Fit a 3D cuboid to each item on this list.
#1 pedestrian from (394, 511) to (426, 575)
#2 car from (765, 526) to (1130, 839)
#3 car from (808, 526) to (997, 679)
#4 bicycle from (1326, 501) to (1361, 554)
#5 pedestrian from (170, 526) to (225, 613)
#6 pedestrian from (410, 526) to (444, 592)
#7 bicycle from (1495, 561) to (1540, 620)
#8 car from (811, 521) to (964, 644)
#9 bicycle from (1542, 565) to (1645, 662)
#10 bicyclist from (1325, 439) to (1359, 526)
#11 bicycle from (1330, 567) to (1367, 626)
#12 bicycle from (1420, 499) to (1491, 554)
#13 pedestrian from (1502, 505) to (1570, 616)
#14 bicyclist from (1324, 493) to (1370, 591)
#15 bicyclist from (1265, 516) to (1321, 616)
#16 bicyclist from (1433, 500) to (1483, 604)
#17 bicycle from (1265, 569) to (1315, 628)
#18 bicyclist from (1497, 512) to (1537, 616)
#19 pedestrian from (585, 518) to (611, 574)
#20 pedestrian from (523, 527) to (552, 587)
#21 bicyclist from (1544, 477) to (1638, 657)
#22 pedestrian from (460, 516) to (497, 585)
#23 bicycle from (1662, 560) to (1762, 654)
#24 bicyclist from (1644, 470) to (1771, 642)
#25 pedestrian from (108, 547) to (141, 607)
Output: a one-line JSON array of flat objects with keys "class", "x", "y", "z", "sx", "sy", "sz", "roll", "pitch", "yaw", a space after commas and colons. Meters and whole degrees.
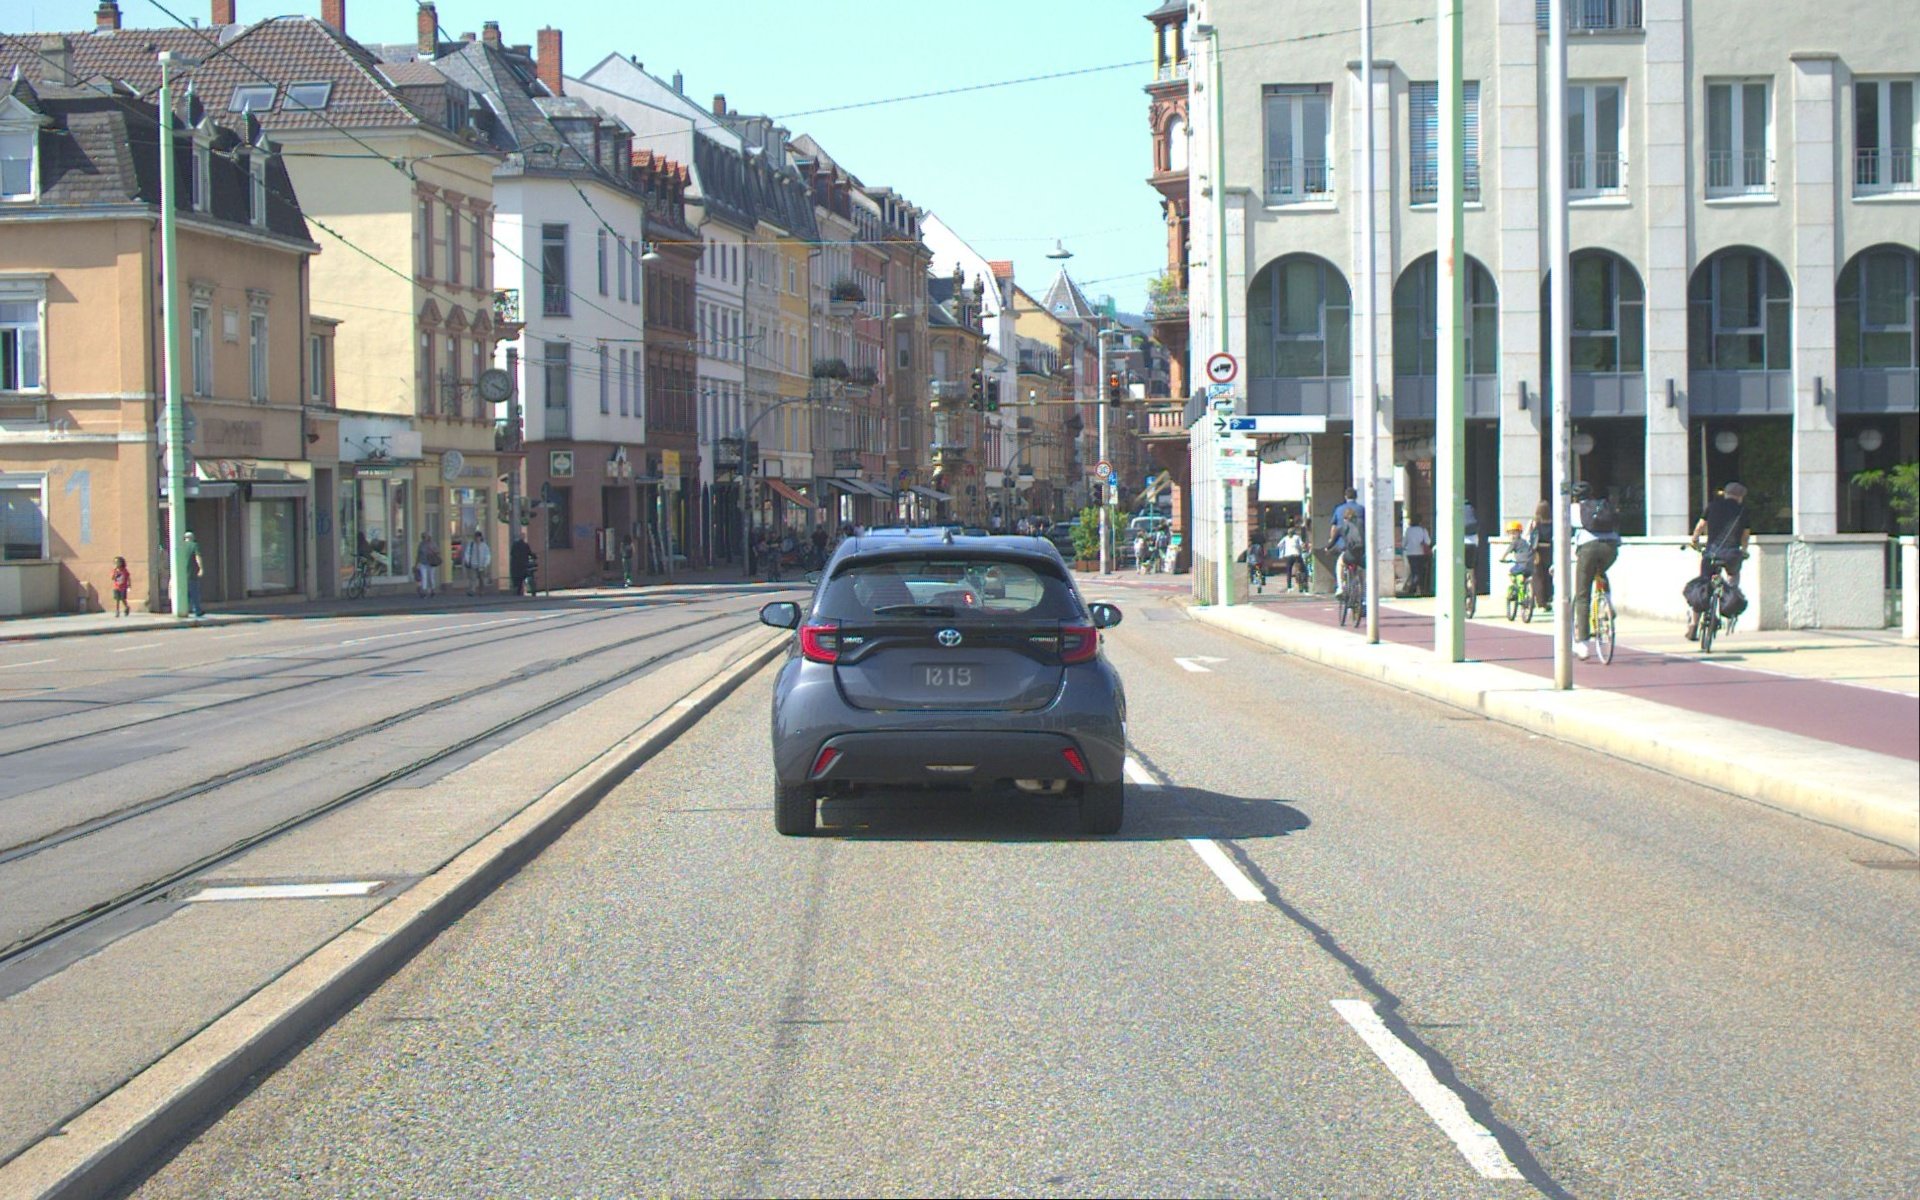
[{"class": "pedestrian", "x": -14.180, "y": -1.466, "z": 88.610, "sx": 0.649, "sy": 1.596, "sz": 0.566, "roll": 4, "pitch": 3, "yaw": 0}, {"class": "car", "x": -0.083, "y": 0.356, "z": 18.211, "sx": 1.720, "sy": 1.468, "sz": 3.658, "roll": 1, "pitch": 1, "yaw": -1}, {"class": "car", "x": -0.611, "y": -0.016, "z": 36.896, "sx": 1.897, "sy": 1.525, "sz": 4.000, "roll": 1, "pitch": 1, "yaw": -1}, {"class": "bicycle", "x": 5.610, "y": -1.061, "z": 50.298, "sx": 0.416, "sy": 0.763, "sz": 0.962, "roll": -2, "pitch": 1, "yaw": 3}, {"class": "pedestrian", "x": -15.017, "y": -0.605, "z": 67.740, "sx": 0.762, "sy": 1.648, "sz": 0.711, "roll": 4, "pitch": 1, "yaw": 7}, {"class": "pedestrian", "x": -13.266, "y": -1.025, "z": 85.576, "sx": 0.649, "sy": 1.596, "sz": 0.566, "roll": 4, "pitch": 3, "yaw": 0}, {"class": "bicycle", "x": 7.556, "y": -0.133, "z": 46.606, "sx": 0.416, "sy": 0.763, "sz": 0.962, "roll": -2, "pitch": 1, "yaw": 0}, {"class": "car", "x": -0.937, "y": -0.258, "z": 45.082, "sx": 1.897, "sy": 1.525, "sz": 4.000, "roll": 1, "pitch": 1, "yaw": -1}, {"class": "bicycle", "x": 6.087, "y": 0.122, "z": 33.098, "sx": 0.704, "sy": 0.879, "sz": 1.525, "roll": -2, "pitch": 1, "yaw": 0}, {"class": "bicyclist", "x": 5.593, "y": -1.711, "z": 50.324, "sx": 0.422, "sy": 1.252, "sz": 0.443, "roll": -2, "pitch": 1, "yaw": 3}, {"class": "bicycle", "x": 5.291, "y": -0.052, "z": 46.826, "sx": 0.416, "sy": 0.763, "sz": 1.205, "roll": -2, "pitch": 1, "yaw": 4}, {"class": "bicycle", "x": 7.088, "y": -1.051, "z": 49.203, "sx": 0.416, "sy": 0.763, "sz": 0.961, "roll": -3, "pitch": 1, "yaw": -39}, {"class": "pedestrian", "x": 8.660, "y": -0.596, "z": 51.708, "sx": 0.739, "sy": 1.609, "sz": 1.016, "roll": 4, "pitch": 1, "yaw": -1}, {"class": "bicyclist", "x": 5.270, "y": -0.793, "z": 46.853, "sx": 0.538, "sy": 1.312, "sz": 0.672, "roll": -3, "pitch": 1, "yaw": 4}, {"class": "bicyclist", "x": 8.654, "y": -0.885, "z": 89.418, "sx": 1.228, "sy": 2.520, "sz": 1.105, "roll": 4, "pitch": 1, "yaw": 3}, {"class": "bicyclist", "x": 7.120, "y": -0.686, "z": 49.174, "sx": 0.484, "sy": 1.461, "sz": 0.443, "roll": -3, "pitch": 1, "yaw": -39}, {"class": "bicycle", "x": 8.571, "y": -0.055, "z": 89.338, "sx": 1.112, "sy": 1.415, "sz": 3.007, "roll": 4, "pitch": 1, "yaw": 4}, {"class": "bicyclist", "x": 7.544, "y": -0.488, "z": 46.570, "sx": 0.422, "sy": 1.378, "sz": 0.443, "roll": -2, "pitch": 1, "yaw": 0}, {"class": "pedestrian", "x": -11.465, "y": -1.718, "z": 109.008, "sx": 0.736, "sy": 1.760, "sz": 0.787, "roll": 0, "pitch": 2, "yaw": 0}, {"class": "pedestrian", "x": -11.581, "y": -1.177, "z": 94.243, "sx": 0.649, "sy": 1.596, "sz": 0.566, "roll": 4, "pitch": 3, "yaw": 0}, {"class": "bicyclist", "x": 6.072, "y": -0.325, "z": 33.117, "sx": 0.701, "sy": 1.689, "sz": 0.924, "roll": -1, "pitch": 1, "yaw": 0}, {"class": "pedestrian", "x": -12.663, "y": -1.302, "z": 90.428, "sx": 0.736, "sy": 1.760, "sz": 0.787, "roll": 4, "pitch": 1, "yaw": 0}, {"class": "bicycle", "x": 7.599, "y": 0.059, "z": 34.807, "sx": 0.798, "sy": 0.879, "sz": 1.827, "roll": -1, "pitch": 1, "yaw": 7}, {"class": "bicyclist", "x": 7.587, "y": -0.451, "z": 34.922, "sx": 1.139, "sy": 1.689, "sz": 0.924, "roll": -1, "pitch": 1, "yaw": 7}, {"class": "pedestrian", "x": -16.304, "y": -0.448, "z": 67.094, "sx": 0.412, "sy": 1.142, "sz": 0.544, "roll": 4, "pitch": 1, "yaw": 7}]
